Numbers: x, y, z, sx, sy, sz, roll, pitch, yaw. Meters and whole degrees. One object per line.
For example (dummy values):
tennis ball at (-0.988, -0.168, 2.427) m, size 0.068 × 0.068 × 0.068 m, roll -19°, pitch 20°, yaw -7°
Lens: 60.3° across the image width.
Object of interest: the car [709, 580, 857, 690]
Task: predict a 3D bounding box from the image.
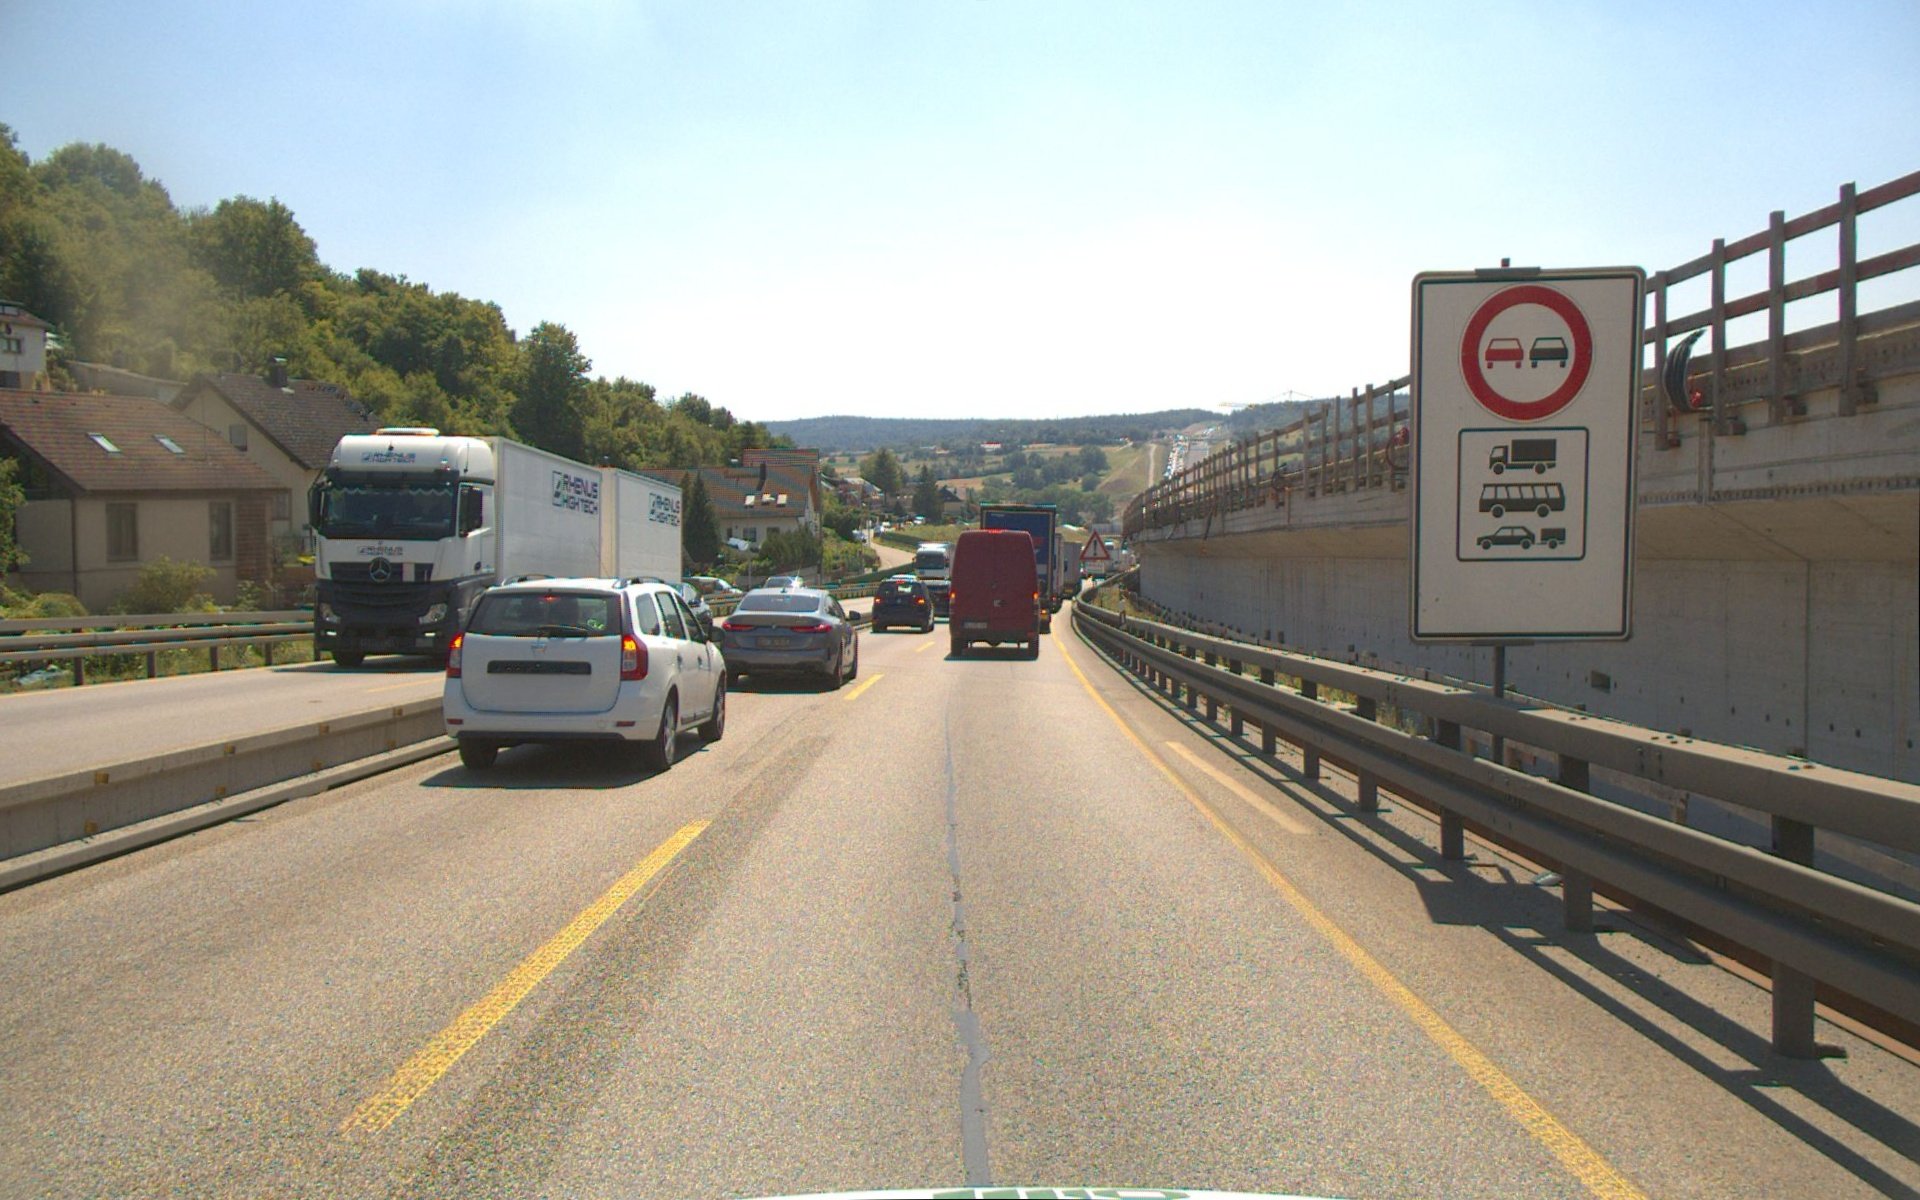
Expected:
car at (-2.573, 0.477, 24.889) m, size 1.758 × 1.511 × 4.050 m, roll 0°, pitch 0°, yaw 0°

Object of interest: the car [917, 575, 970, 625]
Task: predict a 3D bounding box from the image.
car at (-0.628, 0.018, 64.877) m, size 1.693 × 1.870 × 4.002 m, roll 0°, pitch -1°, yaw 5°

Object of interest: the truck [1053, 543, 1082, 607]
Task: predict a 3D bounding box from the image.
truck at (7.764, -1.768, 119.500) m, size 1.952 × 4.458 × 4.001 m, roll 0°, pitch -1°, yaw 2°

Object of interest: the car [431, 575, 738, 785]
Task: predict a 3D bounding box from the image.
car at (-3.073, 0.601, 14.416) m, size 1.617 × 1.509 × 4.267 m, roll -2°, pitch 0°, yaw 1°

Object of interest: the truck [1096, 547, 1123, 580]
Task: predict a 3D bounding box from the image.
truck at (20.917, -5.069, 231.497) m, size 3.393 × 4.458 × 8.563 m, roll 0°, pitch -1°, yaw 7°

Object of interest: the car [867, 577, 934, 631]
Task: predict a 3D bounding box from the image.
car at (-1.843, 0.152, 52.179) m, size 1.772 × 1.636 × 3.720 m, roll 0°, pitch -1°, yaw 3°

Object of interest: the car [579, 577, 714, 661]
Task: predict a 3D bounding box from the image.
car at (-5.980, 0.316, 32.087) m, size 1.745 × 1.504 × 4.621 m, roll 0°, pitch 1°, yaw 0°

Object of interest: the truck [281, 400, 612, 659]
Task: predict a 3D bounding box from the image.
truck at (-9.541, -1.226, 32.422) m, size 2.916 × 4.235 × 10.548 m, roll 0°, pitch 1°, yaw 2°

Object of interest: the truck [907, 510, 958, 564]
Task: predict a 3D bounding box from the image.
truck at (-2.157, -4.946, 131.464) m, size 3.068 × 4.150 × 6.885 m, roll 0°, pitch 1°, yaw 7°

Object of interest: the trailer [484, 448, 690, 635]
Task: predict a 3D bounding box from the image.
trailer at (-9.246, -1.367, 42.215) m, size 2.941 × 4.238 × 9.019 m, roll 0°, pitch 0°, yaw 2°

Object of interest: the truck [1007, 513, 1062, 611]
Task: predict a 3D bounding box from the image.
truck at (3.975, -1.887, 88.138) m, size 2.728 × 4.900 × 9.688 m, roll 0°, pitch -1°, yaw 3°

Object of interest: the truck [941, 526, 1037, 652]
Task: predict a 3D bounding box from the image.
truck at (0.702, -0.214, 36.441) m, size 1.952 × 2.624 × 4.001 m, roll 0°, pitch -1°, yaw 3°

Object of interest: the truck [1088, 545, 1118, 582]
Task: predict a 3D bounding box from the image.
truck at (18.276, -4.604, 211.150) m, size 3.003 × 4.458 × 8.564 m, roll 0°, pitch -1°, yaw 10°

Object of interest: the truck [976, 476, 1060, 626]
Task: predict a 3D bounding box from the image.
truck at (2.160, -1.568, 59.220) m, size 2.728 × 4.900 × 9.688 m, roll 0°, pitch -1°, yaw 3°
